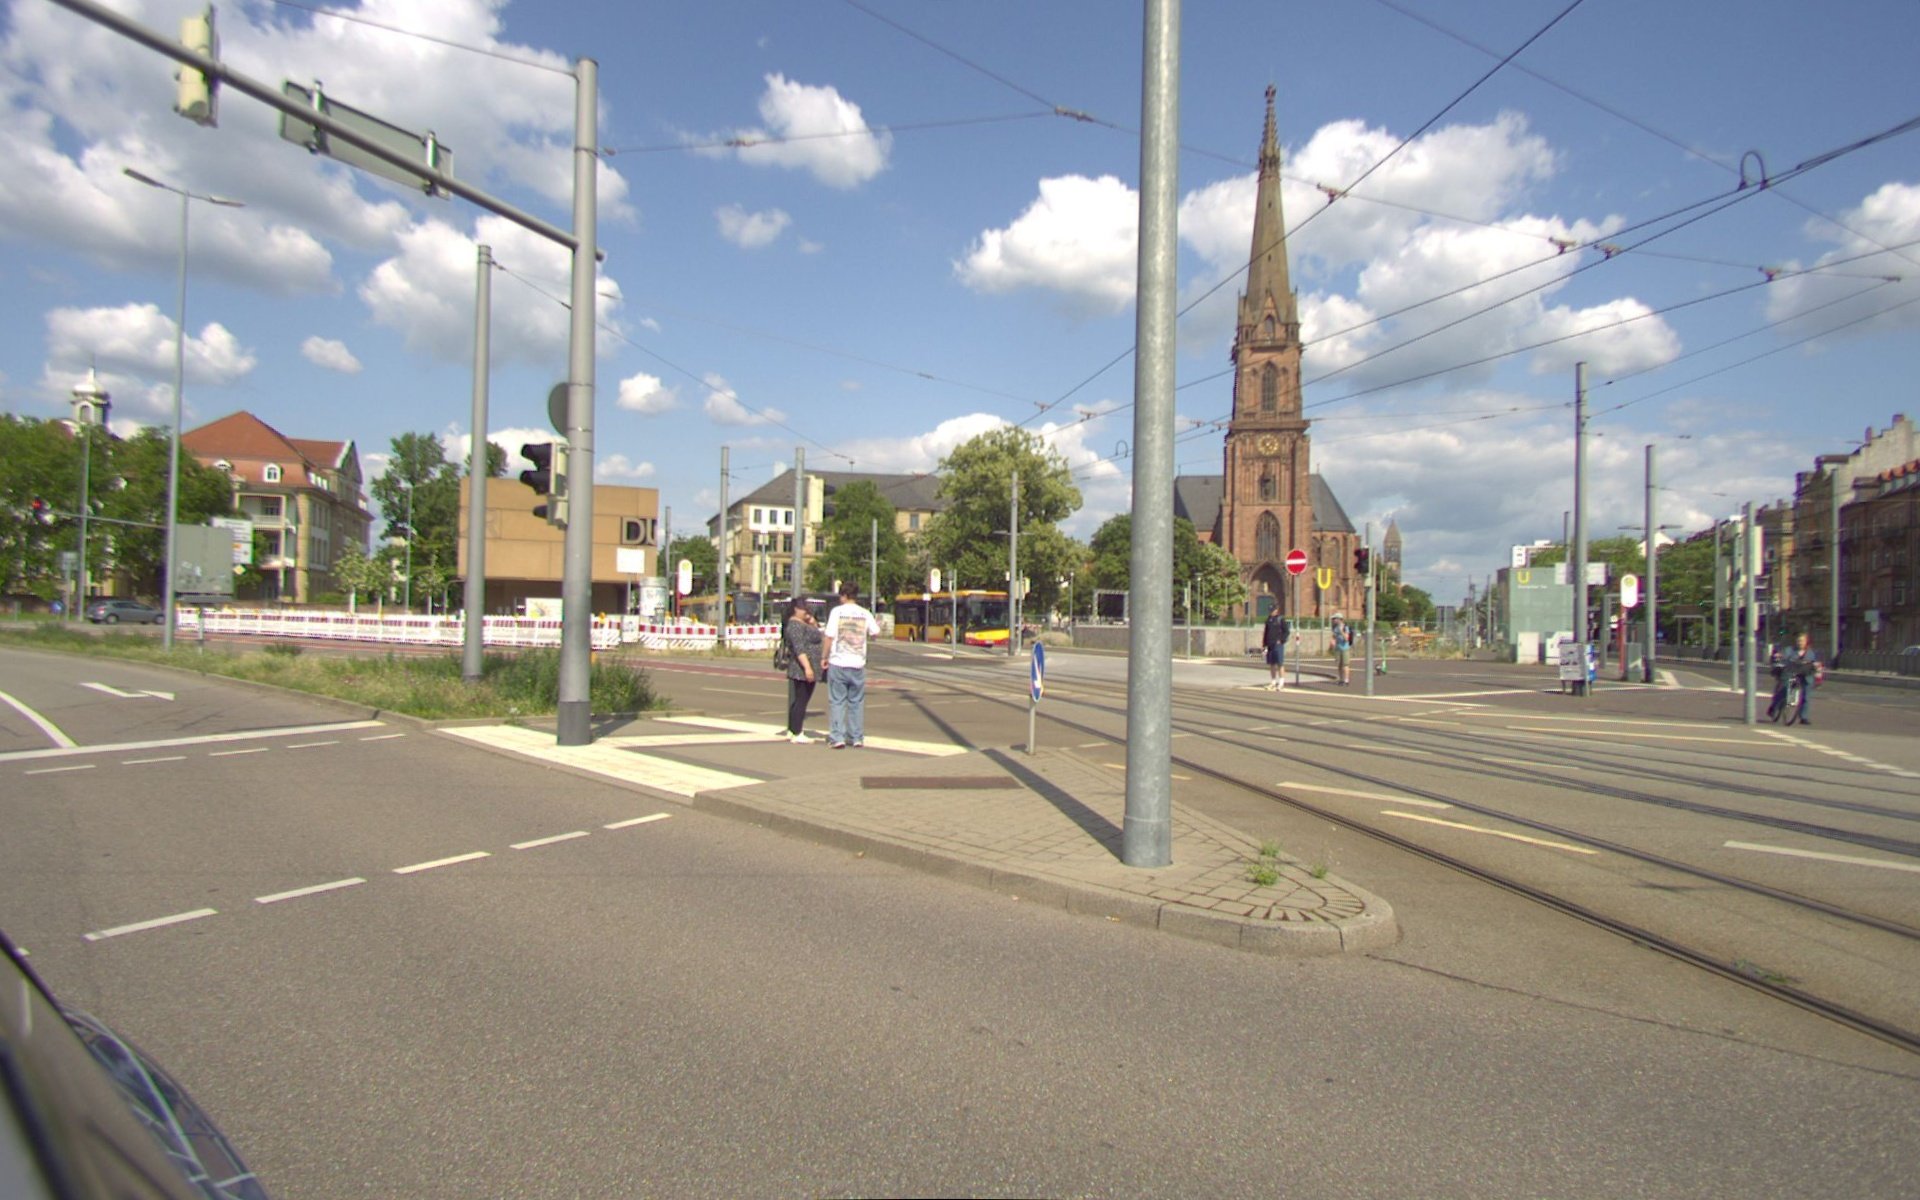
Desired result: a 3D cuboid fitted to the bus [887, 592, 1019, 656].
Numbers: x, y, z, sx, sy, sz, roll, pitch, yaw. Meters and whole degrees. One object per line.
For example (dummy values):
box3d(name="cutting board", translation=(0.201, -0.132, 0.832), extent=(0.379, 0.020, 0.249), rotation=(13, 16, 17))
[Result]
box3d(name="bus", translation=(-0.732, 1.332, 56.447), extent=(2.785, 3.160, 12.882), rotation=(2, -2, -22))

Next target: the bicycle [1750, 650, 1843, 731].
box3d(name="bicycle", translation=(13.758, 1.452, 16.716), extent=(0.993, 1.197, 2.273), rotation=(0, -2, 35))

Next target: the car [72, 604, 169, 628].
box3d(name="car", translation=(-52.298, 0.987, 63.150), extent=(1.991, 1.386, 4.228), rotation=(0, 0, 28))

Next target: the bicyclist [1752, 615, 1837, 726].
box3d(name="bicyclist", translation=(13.829, 1.144, 16.811), extent=(0.993, 1.744, 1.286), rotation=(0, -2, 35))

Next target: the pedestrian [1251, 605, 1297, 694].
box3d(name="pedestrian", translation=(6.922, 1.072, 22.323), extent=(0.817, 1.917, 0.766), rotation=(0, 0, 6))

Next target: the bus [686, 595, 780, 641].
box3d(name="bus", translation=(-19.110, 1.510, 83.180), extent=(3.416, 3.208, 23.856), rotation=(2, -2, -22))

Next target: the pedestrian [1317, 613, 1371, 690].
box3d(name="pedestrian", translation=(9.340, 1.232, 24.619), extent=(1.028, 1.811, 0.757), rotation=(0, 0, 42))

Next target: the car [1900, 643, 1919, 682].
box3d(name="car", translation=(38.984, 2.489, 39.647), extent=(1.989, 1.540, 4.058), rotation=(0, -2, 25))

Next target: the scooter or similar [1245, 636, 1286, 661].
box3d(name="scooter or similar", translation=(14.023, 2.225, 46.496), extent=(1.617, 1.114, 0.855), rotation=(0, 0, -19))

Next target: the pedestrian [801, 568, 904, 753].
box3d(name="pedestrian", translation=(-1.180, 0.645, 11.161), extent=(0.691, 1.931, 0.839), rotation=(1, -2, 37))

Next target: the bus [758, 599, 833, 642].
box3d(name="bus", translation=(-15.819, 2.021, 95.408), extent=(3.546, 3.659, 18.931), rotation=(2, -2, -20))

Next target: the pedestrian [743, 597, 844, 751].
box3d(name="pedestrian", translation=(-1.878, 0.811, 11.463), extent=(0.691, 1.660, 0.839), rotation=(1, -2, 37))

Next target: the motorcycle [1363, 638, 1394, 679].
box3d(name="motorcycle", translation=(13.282, 1.851, 32.108), extent=(0.484, 1.246, 1.428), rotation=(1, -2, 39))
